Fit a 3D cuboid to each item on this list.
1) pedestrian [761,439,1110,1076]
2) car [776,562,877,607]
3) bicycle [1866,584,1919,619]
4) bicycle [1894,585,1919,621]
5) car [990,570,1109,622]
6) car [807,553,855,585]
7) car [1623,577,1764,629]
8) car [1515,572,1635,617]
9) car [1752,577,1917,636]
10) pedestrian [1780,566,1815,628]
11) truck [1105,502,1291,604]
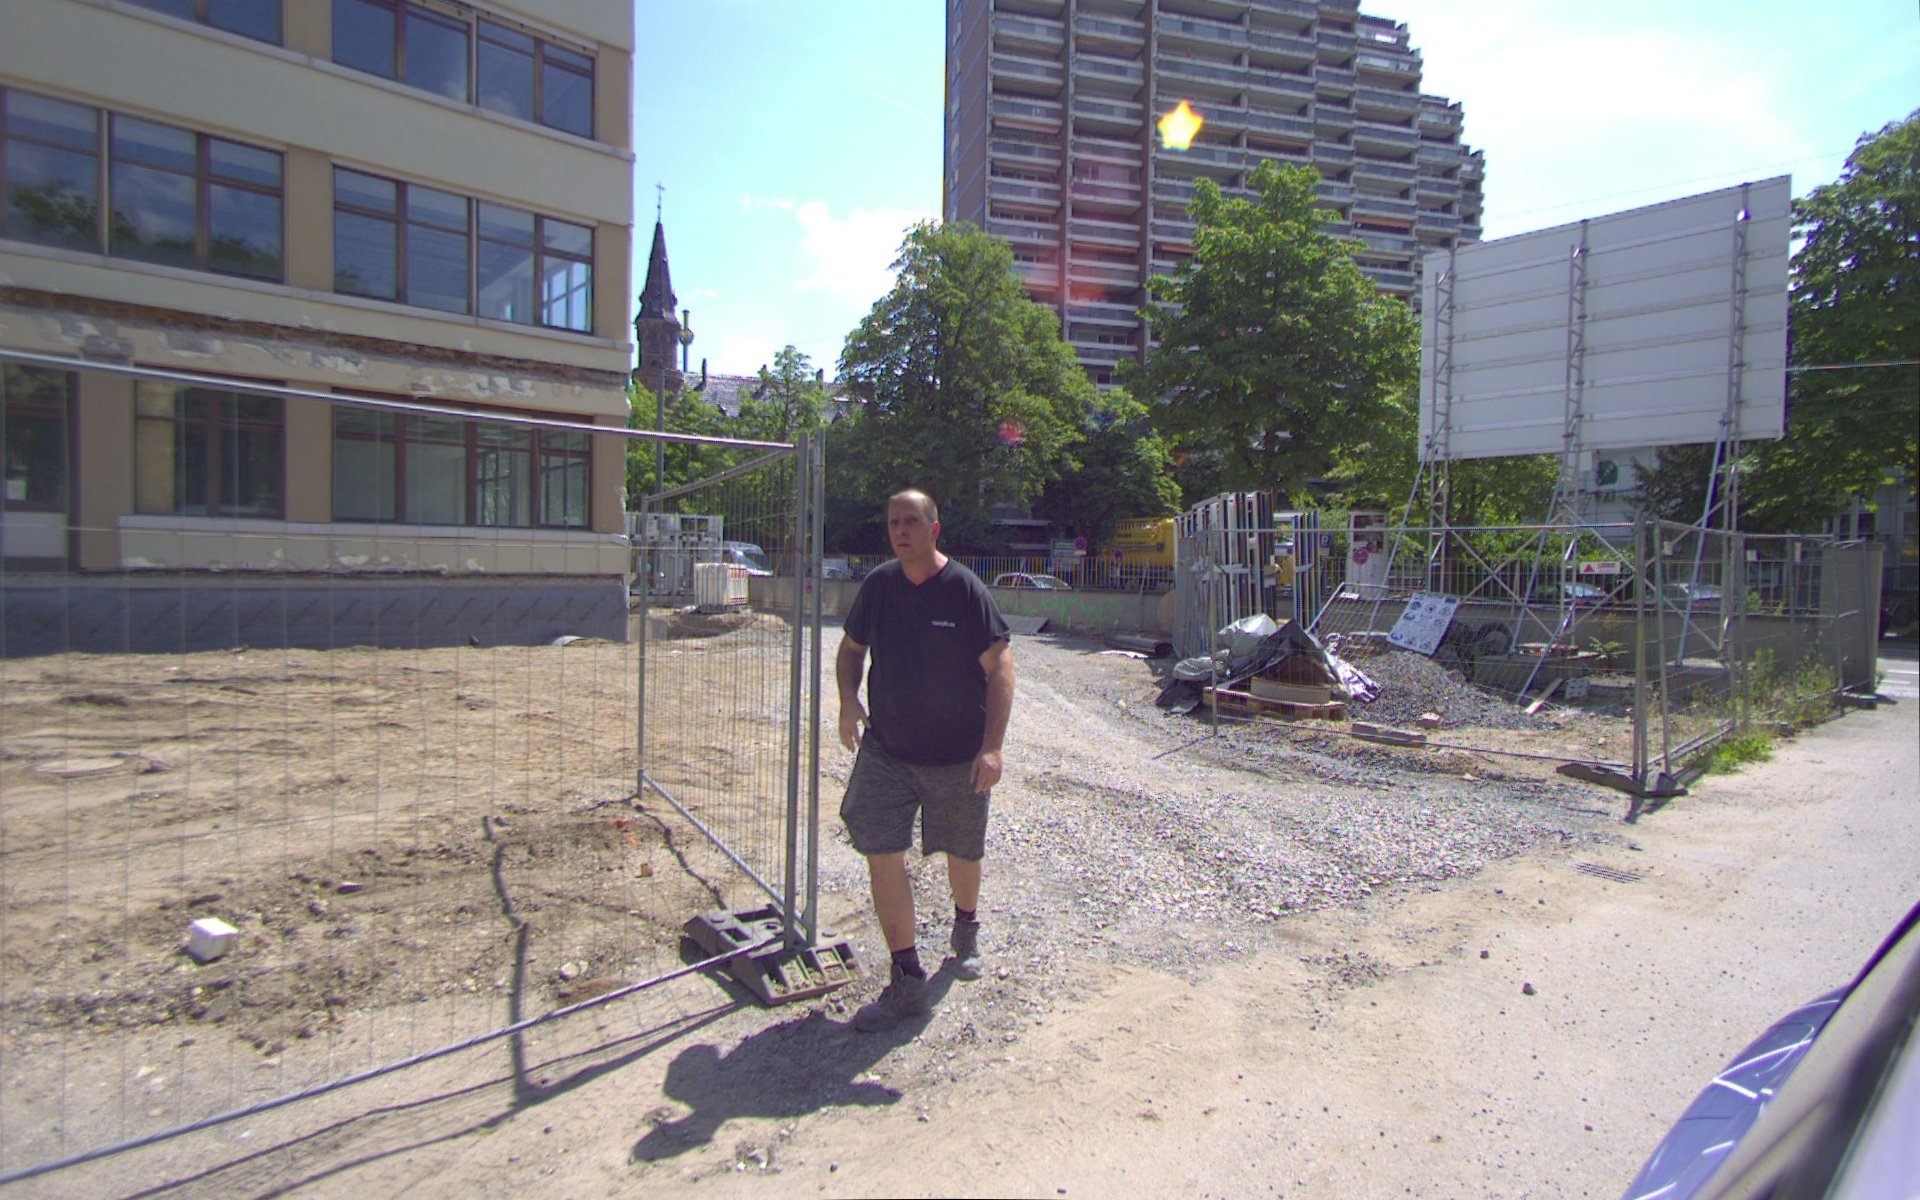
[{"bbox_3d":[-0.047,0.438,3.544,0.862,1.842,0.959,2,1,26],"label":"pedestrian"},{"bbox_3d":[-5.313,-0.638,39.991,1.967,1.627,3.991,1,2,-44],"label":"car"},{"bbox_3d":[31.397,0.051,33.897,1.887,1.144,0.570,1,1,-13],"label":"bicycle"},{"bbox_3d":[31.682,0.105,33.168,1.887,1.144,0.570,1,1,-13],"label":"bicycle"},{"bbox_3d":[2.669,-0.156,30.768,1.592,1.457,3.583,0,2,-37],"label":"car"},{"bbox_3d":[-8.725,-2.113,68.747,1.971,2.038,3.984,1,2,14],"label":"car"},{"bbox_3d":[22.431,0.033,31.155,1.789,1.481,4.014,1,1,8],"label":"car"},{"bbox_3d":[20.369,-0.235,33.716,1.600,1.390,4.021,1,2,2],"label":"car"},{"bbox_3d":[24.669,0.145,28.730,1.620,1.535,3.574,1,1,2],"label":"car"},{"bbox_3d":[26.066,-0.084,31.500,0.701,1.898,0.578,1,1,-27],"label":"pedestrian"},{"bbox_3d":[10.308,-2.064,45.422,2.694,4.055,9.765,0,2,-24],"label":"truck"}]
